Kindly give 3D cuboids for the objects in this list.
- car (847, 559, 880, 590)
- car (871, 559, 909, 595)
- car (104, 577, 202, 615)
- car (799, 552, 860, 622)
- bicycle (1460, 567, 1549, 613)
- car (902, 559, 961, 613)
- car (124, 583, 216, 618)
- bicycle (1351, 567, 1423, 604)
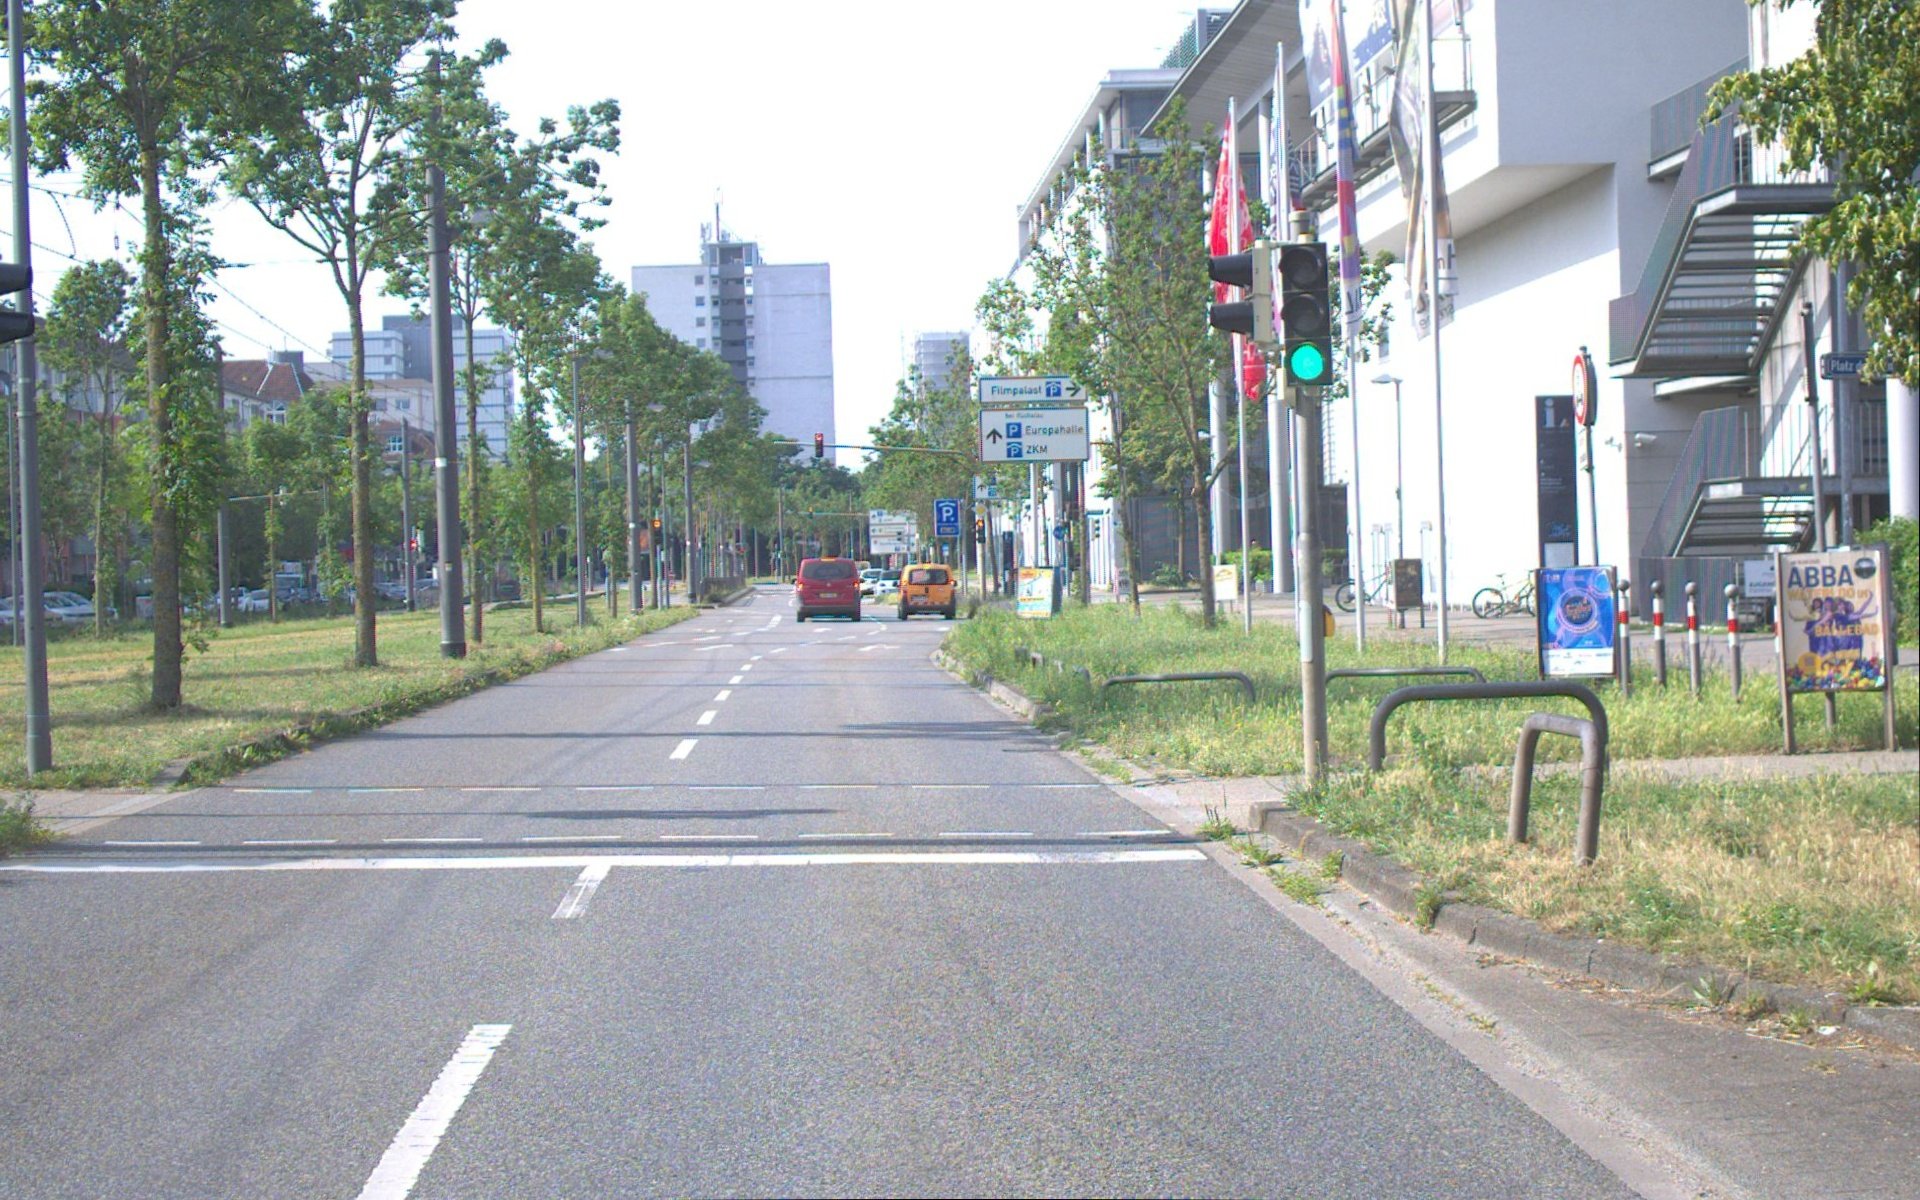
[{"bbox_3d":[-5.232,-1.375,186.234,1.748,1.645,3.216,0,1,-2],"label":"car"},{"bbox_3d":[-3.269,-1.093,160.460,1.748,1.645,3.216,0,1,-2],"label":"car"},{"bbox_3d":[-35.515,-0.192,151.361,3.992,1.590,1.653,1,1,24],"label":"car"},{"bbox_3d":[-3.850,-0.391,101.498,1.748,2.007,3.216,0,1,-2],"label":"car"},{"bbox_3d":[10.662,-0.189,67.348,1.621,0.885,0.551,0,0,-3],"label":"bicycle"},{"bbox_3d":[-0.896,-0.439,106.190,1.748,1.645,3.216,0,1,-2],"label":"car"},{"bbox_3d":[-36.702,0.022,159.701,3.992,1.590,1.653,1,1,24],"label":"car"},{"bbox_3d":[10.208,-0.345,82.135,1.621,0.885,0.551,0,0,-3],"label":"bicycle"}]
